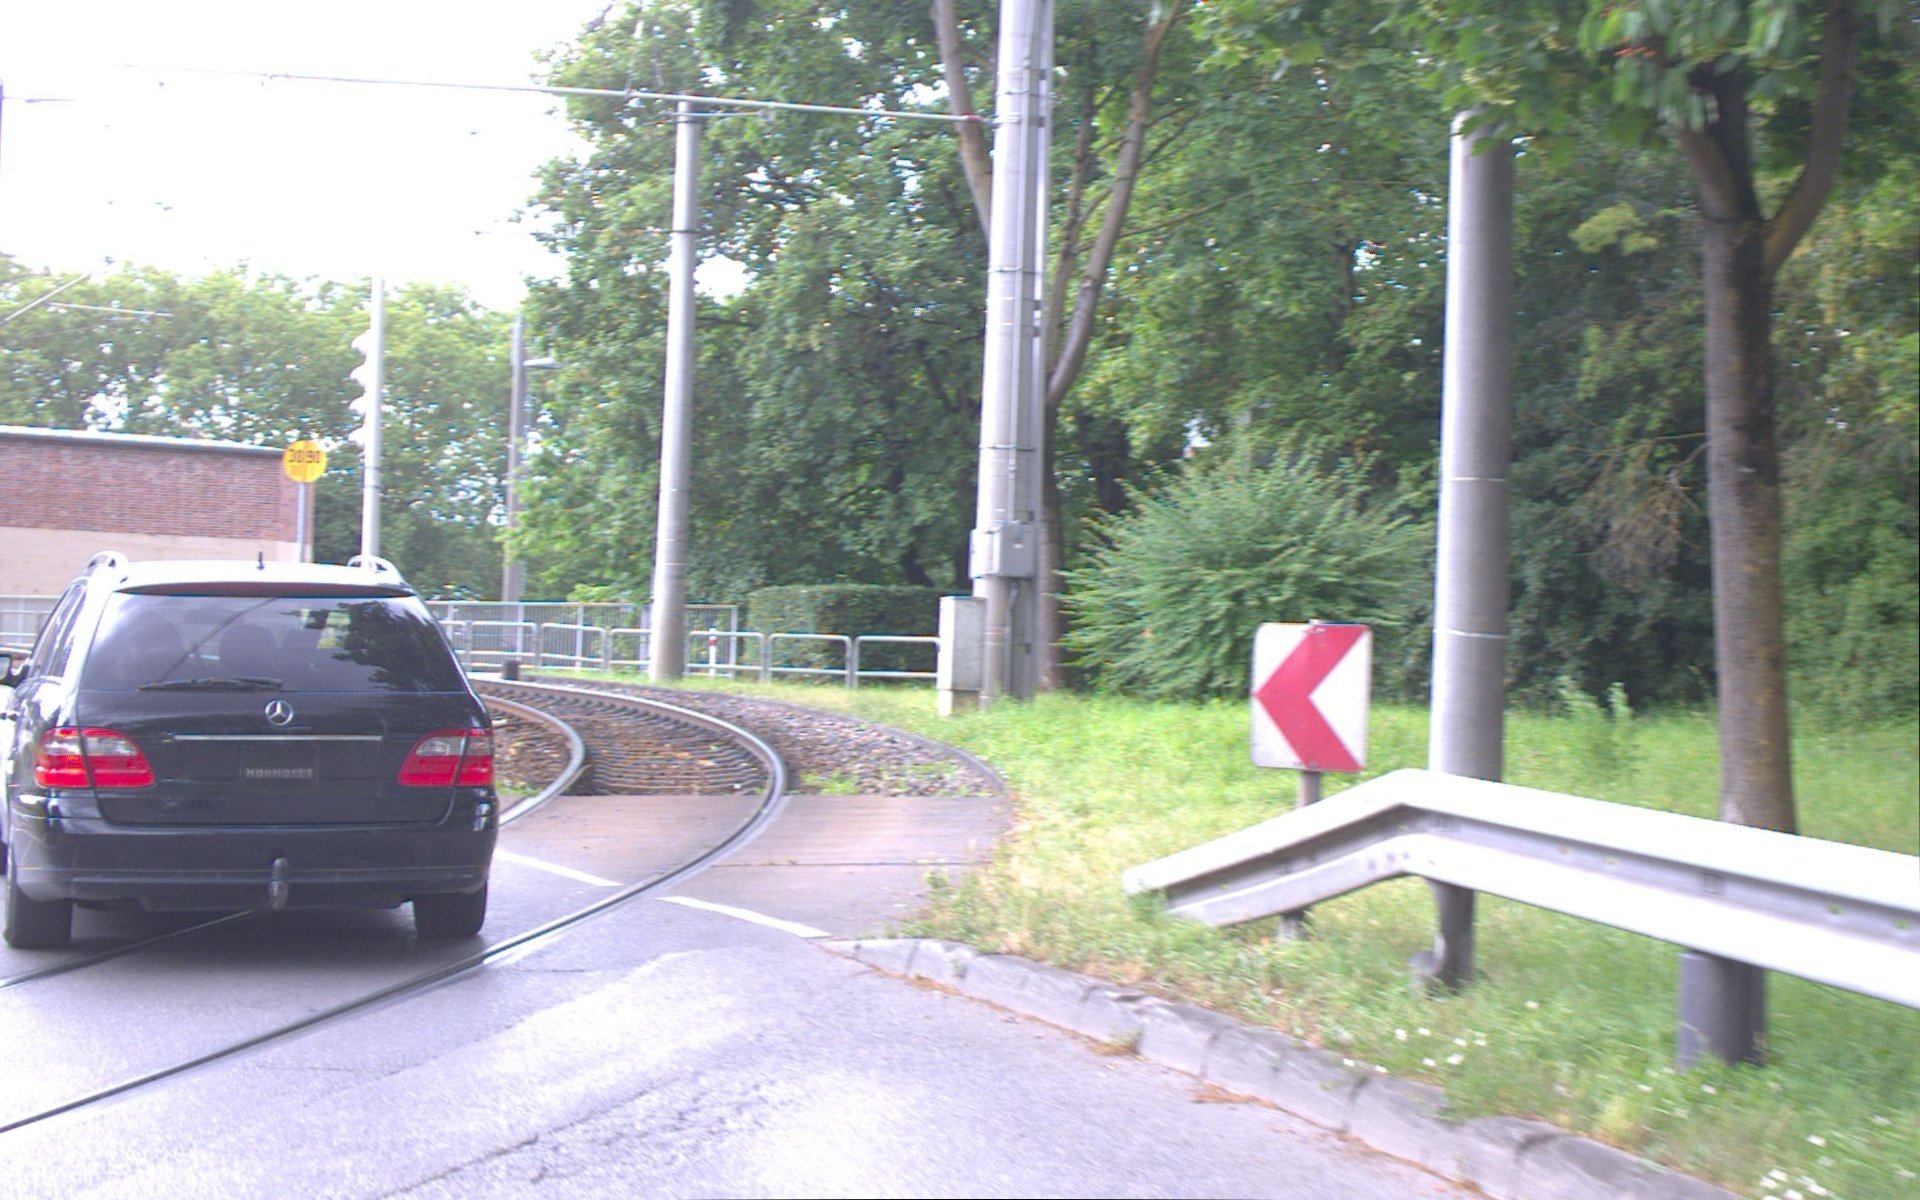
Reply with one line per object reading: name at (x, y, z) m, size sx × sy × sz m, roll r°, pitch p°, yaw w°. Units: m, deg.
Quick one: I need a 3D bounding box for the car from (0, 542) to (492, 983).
car at (-3.079, 0.518, 14.159) m, size 1.758 × 1.510 × 4.444 m, roll 0°, pitch 1°, yaw -15°
